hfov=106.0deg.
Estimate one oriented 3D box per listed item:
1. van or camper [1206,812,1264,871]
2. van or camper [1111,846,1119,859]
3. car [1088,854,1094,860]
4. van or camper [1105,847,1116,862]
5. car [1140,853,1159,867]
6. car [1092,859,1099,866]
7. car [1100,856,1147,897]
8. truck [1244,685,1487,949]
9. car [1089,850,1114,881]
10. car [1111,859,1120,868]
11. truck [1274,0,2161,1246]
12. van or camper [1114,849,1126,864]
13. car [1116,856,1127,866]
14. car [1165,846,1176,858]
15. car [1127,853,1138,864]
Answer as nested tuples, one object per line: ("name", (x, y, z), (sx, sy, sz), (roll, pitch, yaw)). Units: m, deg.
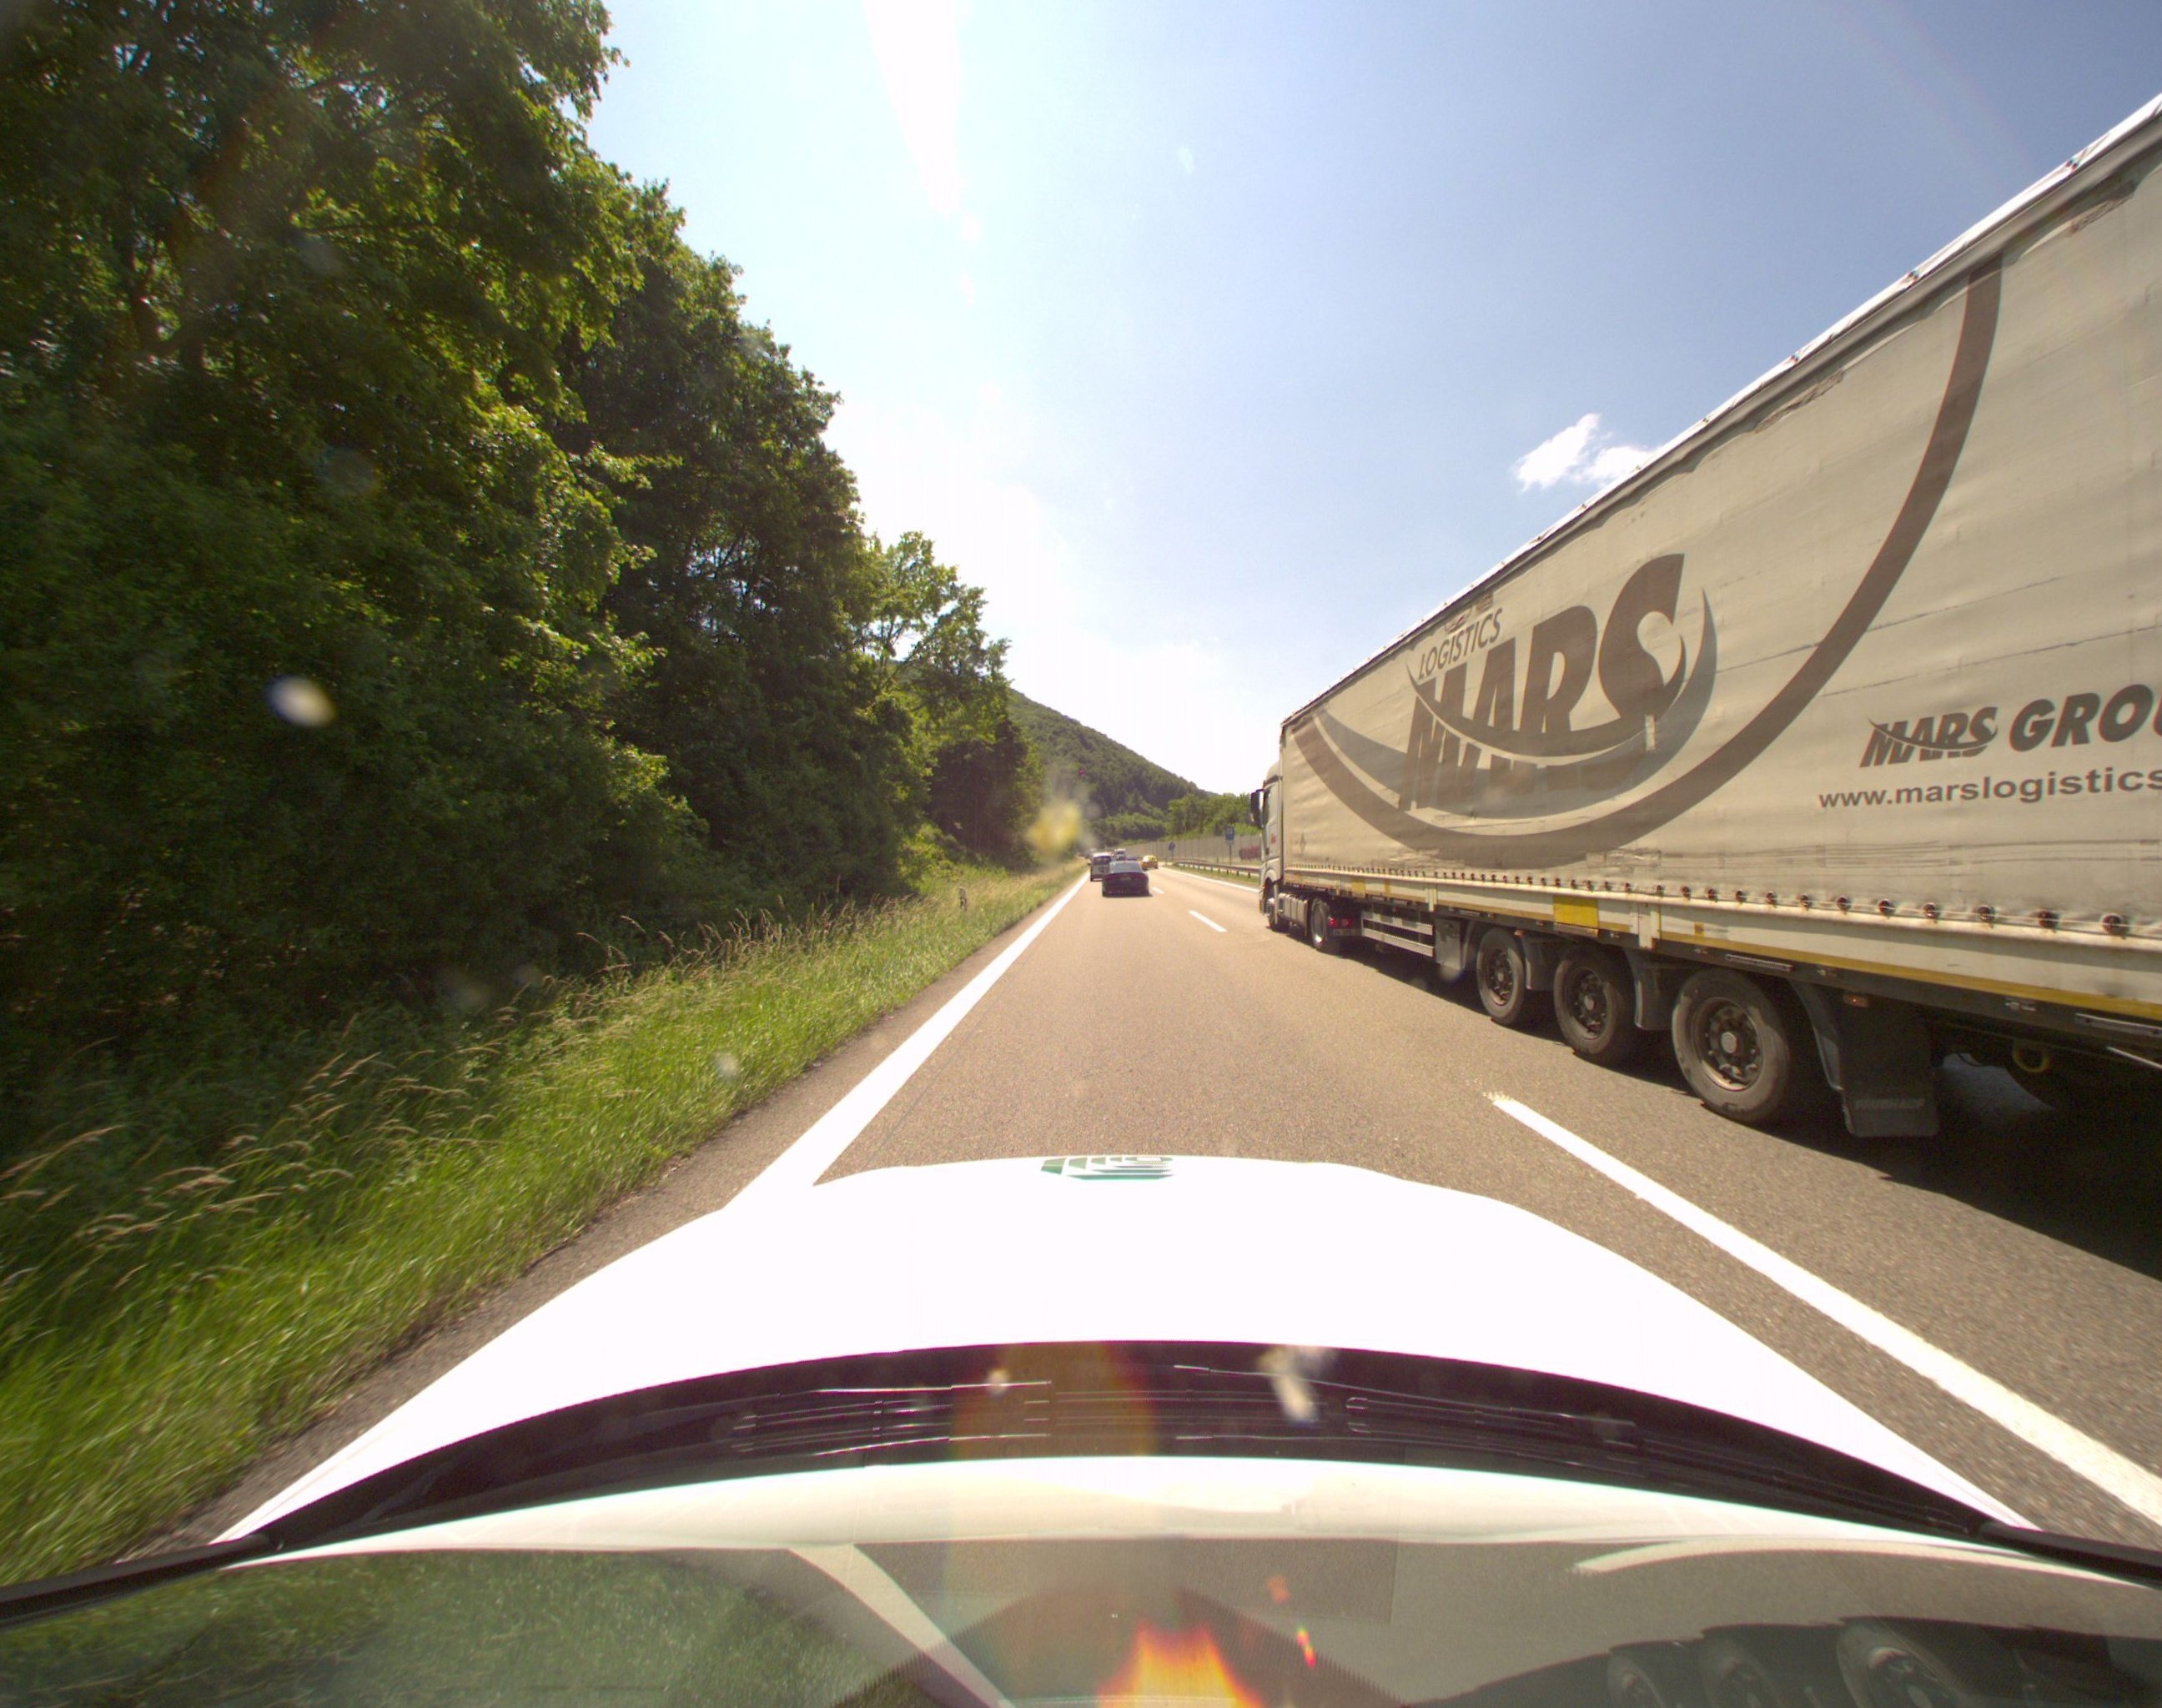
("van or camper", (10.746, -0.799, 57.447), (2.786, 3.842, 6.165), (2, -1, 0))
("van or camper", (10.461, -0.405, 250.314), (2.439, 3.689, 6.590), (2, -1, 2))
("car", (2.760, 0.881, 218.306), (1.483, 1.496, 3.591), (2, -1, 2))
("van or camper", (7.941, 0.052, 221.533), (2.786, 3.907, 6.165), (2, -1, 0))
("car", (7.606, 0.652, 90.308), (1.872, 1.499, 4.001), (0, 0, 2))
("car", (3.502, 2.112, 194.161), (1.483, 1.665, 3.591), (2, -1, 2))
("car", (1.697, 0.871, 33.412), (1.805, 1.514, 3.515), (-2, 0, 1))
("truck", (5.001, -0.529, 15.522), (2.710, 4.068, 5.754), (1, -1, 1))
("car", (1.387, 0.798, 55.483), (1.515, 1.968, 3.515), (2, -1, 1))
("car", (6.246, 1.673, 148.458), (1.524, 1.525, 3.598), (2, -1, 2))
("truck", (4.907, -0.668, 8.475), (2.716, 4.068, 13.741), (1, -1, 1))
("van or camper", (8.293, 0.499, 174.873), (2.420, 3.155, 5.205), (2, -1, 2))
("car", (8.011, 1.405, 160.251), (2.079, 2.014, 4.001), (2, -1, 1))
("car", (15.080, -0.388, 136.708), (1.570, 2.014, 3.429), (0, 0, 2))
("car", (7.797, 0.707, 123.363), (1.524, 1.525, 3.598), (2, -1, 2))
